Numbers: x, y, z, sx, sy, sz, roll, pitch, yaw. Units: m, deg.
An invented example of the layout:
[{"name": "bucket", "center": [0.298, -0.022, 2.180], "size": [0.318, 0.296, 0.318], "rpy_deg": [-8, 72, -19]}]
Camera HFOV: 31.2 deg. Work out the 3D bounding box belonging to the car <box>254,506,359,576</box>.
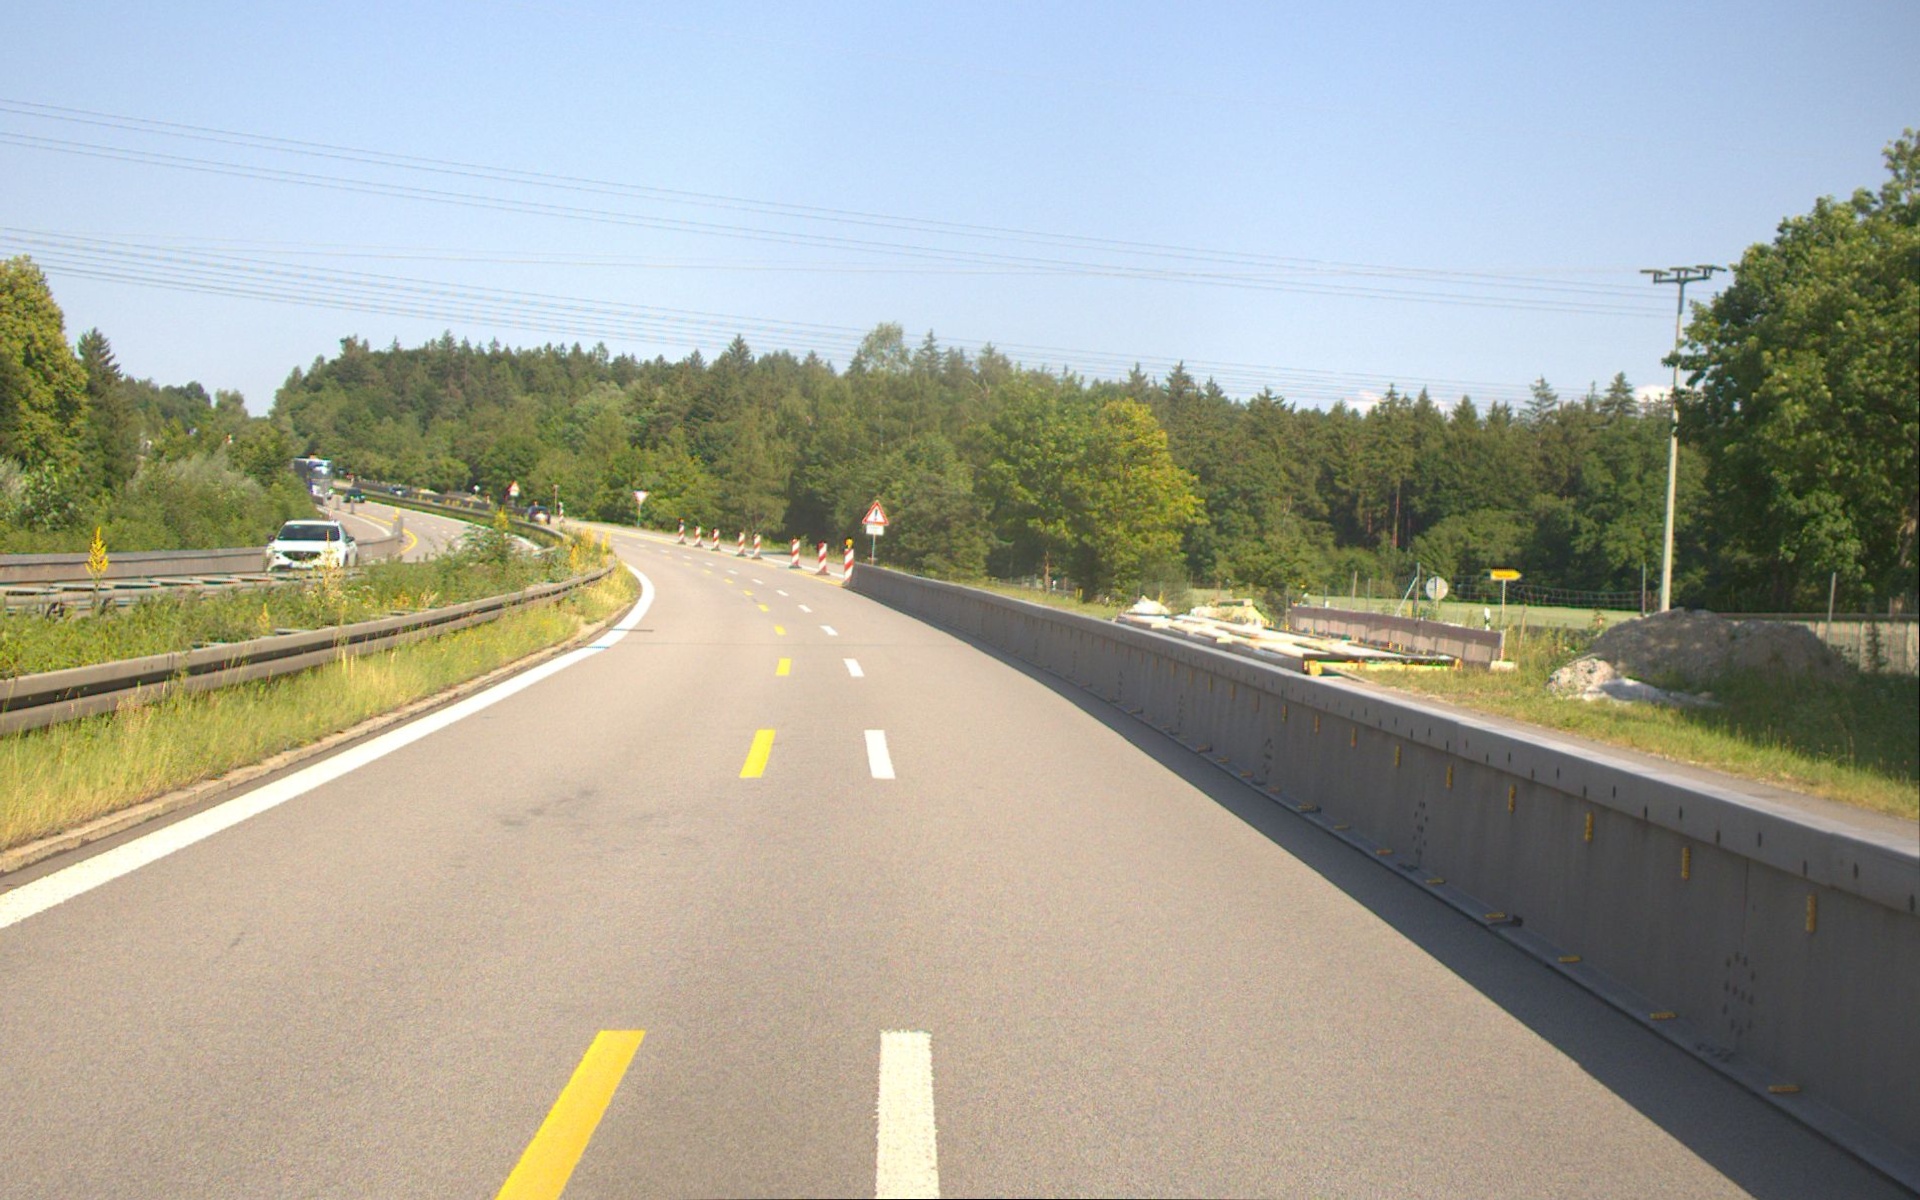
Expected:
[{"name": "car", "center": [-14.964, -1.336, 78.949], "size": [1.759, 1.506, 4.535], "rpy_deg": [1, 0, -3]}]
